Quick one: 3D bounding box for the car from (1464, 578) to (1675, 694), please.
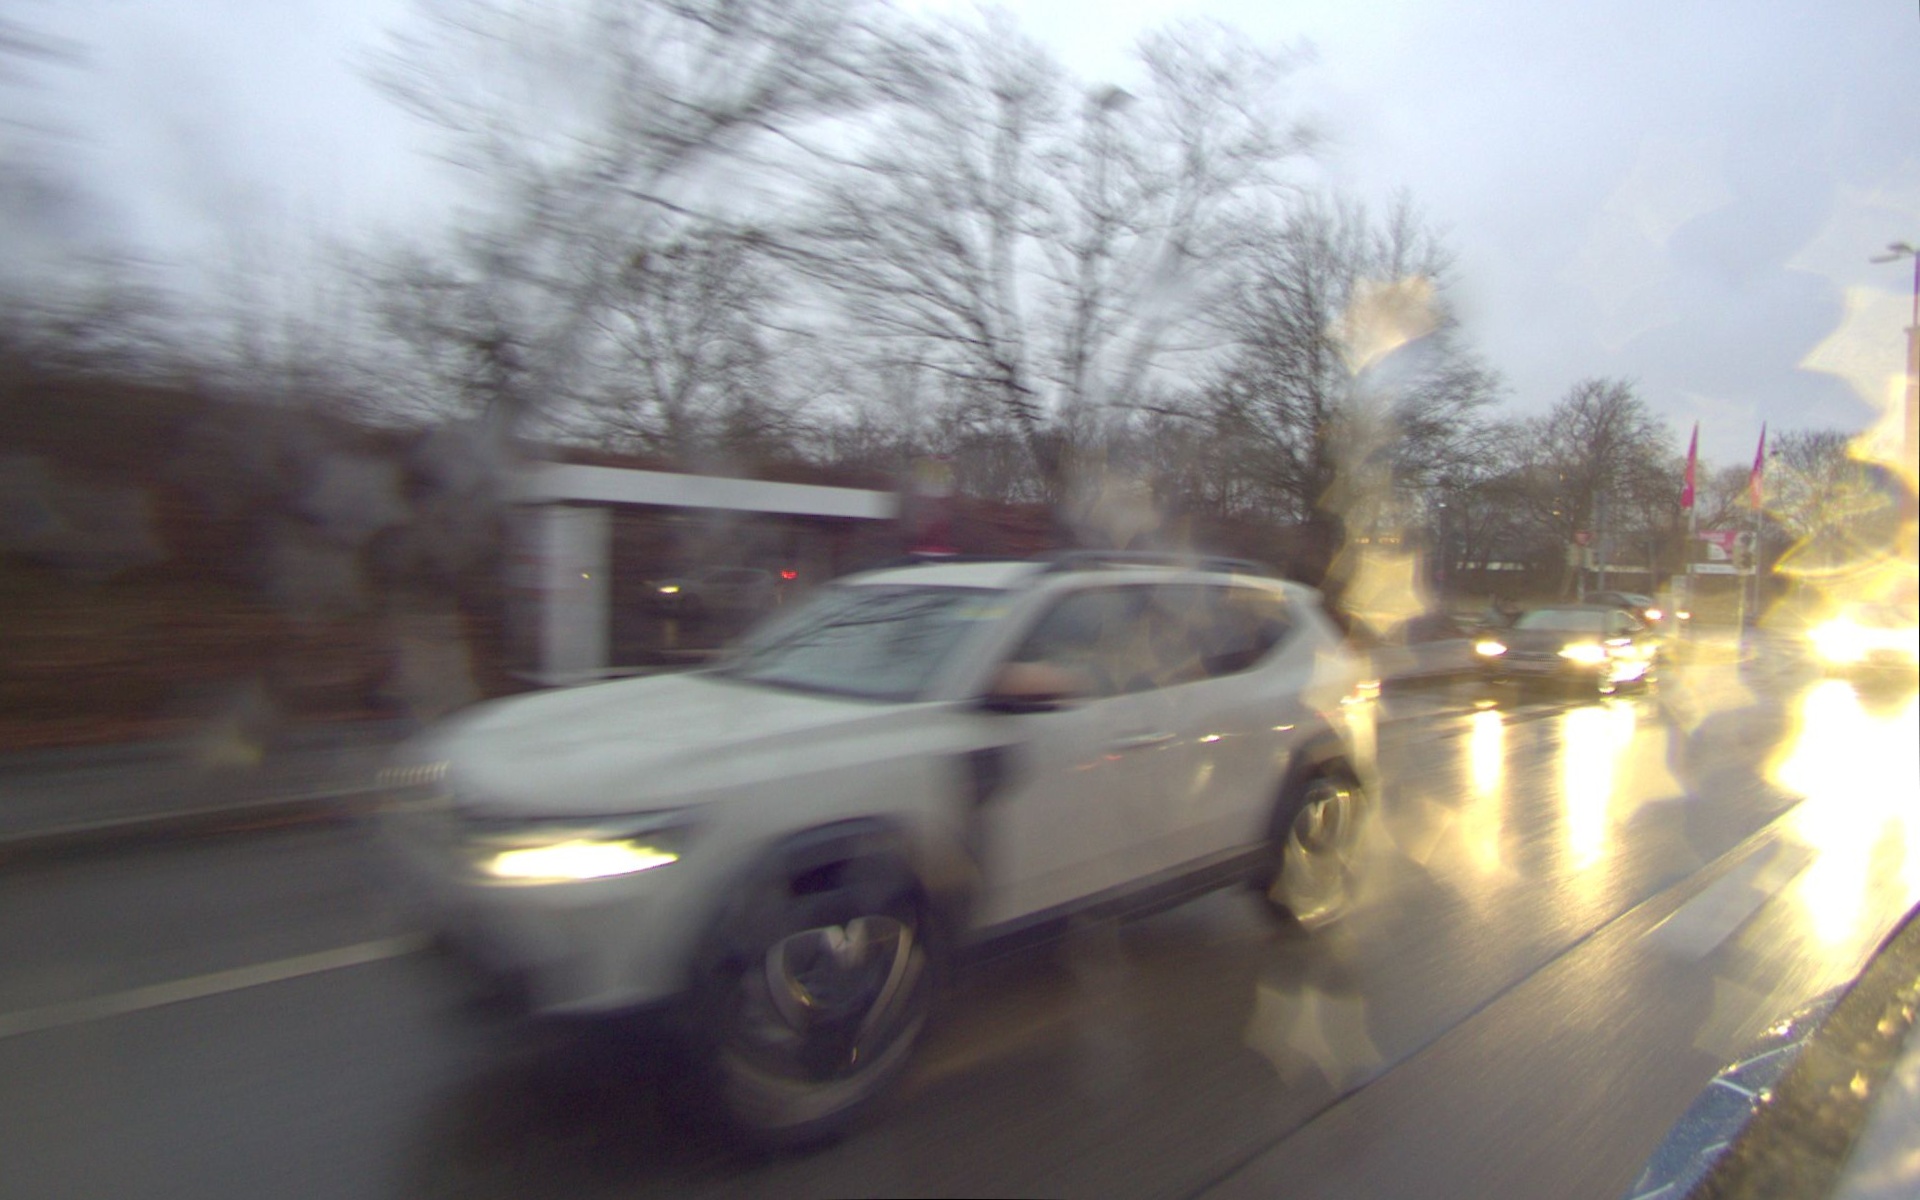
[{"bbox_3d":[10.433,0.492,17.178,4.473,1.639,1.969,-1,3,-44],"label":"car"}]

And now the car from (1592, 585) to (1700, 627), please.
[{"bbox_3d":[24.571,0.169,36.420,1.610,1.325,3.991,1,2,9],"label":"car"}]

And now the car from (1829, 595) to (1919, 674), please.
[{"bbox_3d":[19.168,0.647,20.815,1.875,1.393,4.686,2,2,40],"label":"car"}]

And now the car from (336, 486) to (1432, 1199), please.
[{"bbox_3d":[0.078,0.536,4.212,4.334,1.638,1.819,-1,2,-41],"label":"car"}]
